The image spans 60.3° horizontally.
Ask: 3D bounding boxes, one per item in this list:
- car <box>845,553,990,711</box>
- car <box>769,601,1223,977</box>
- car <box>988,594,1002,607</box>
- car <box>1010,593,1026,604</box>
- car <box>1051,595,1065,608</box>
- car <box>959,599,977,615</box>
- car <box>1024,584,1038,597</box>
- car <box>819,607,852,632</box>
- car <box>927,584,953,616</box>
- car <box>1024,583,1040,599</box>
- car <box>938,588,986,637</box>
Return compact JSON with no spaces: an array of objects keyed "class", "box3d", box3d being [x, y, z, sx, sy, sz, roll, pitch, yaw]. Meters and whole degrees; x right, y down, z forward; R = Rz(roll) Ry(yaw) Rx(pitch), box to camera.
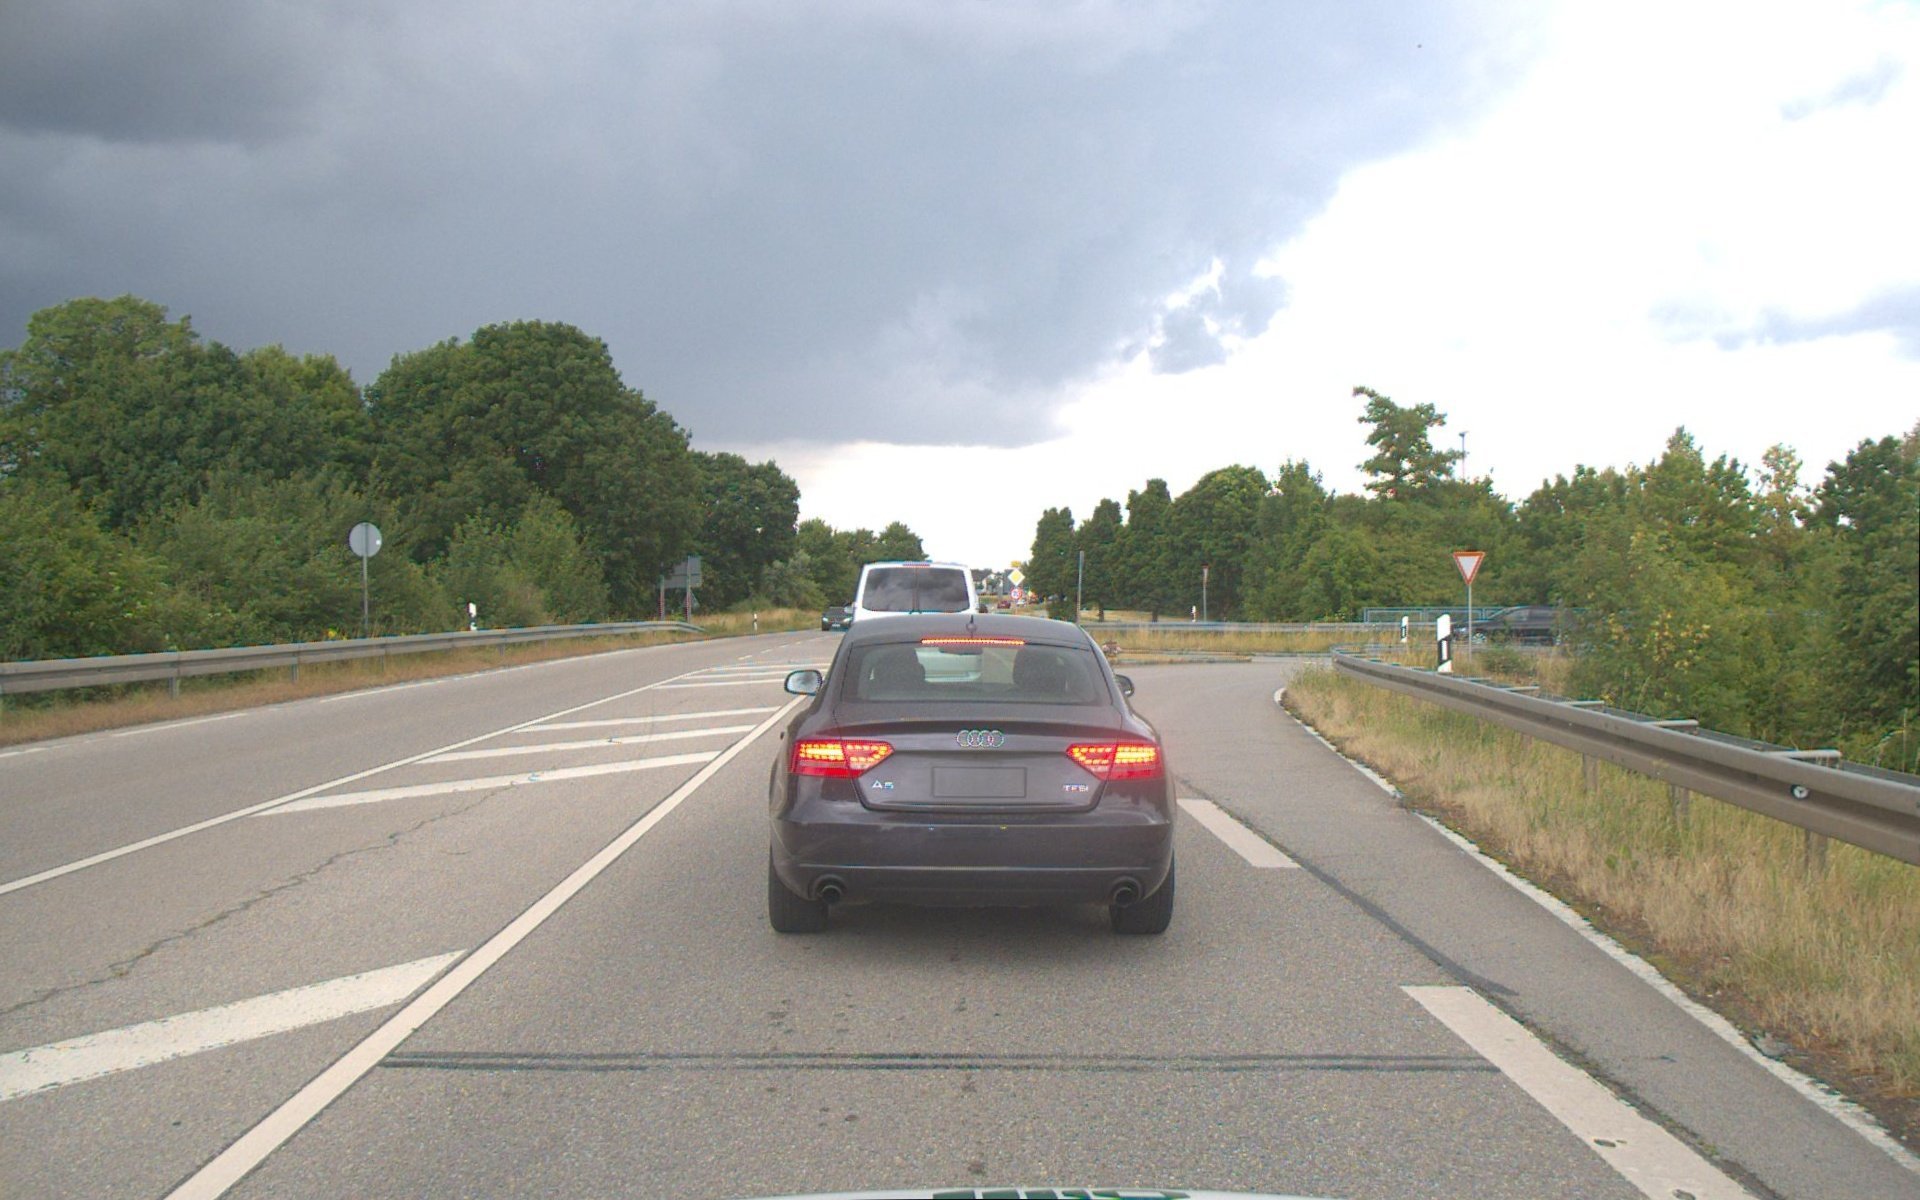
[{"class":"car","box3d":[-0.615,0.397,23.647,1.872,2.049,3.999,1,1,-2]},{"class":"car","box3d":[0.085,0.729,8.028,1.744,1.423,3.335,0,0,-2]},{"class":"car","box3d":[5.029,0.043,239.257,1.952,1.721,4.001,1,1,1]},{"class":"car","box3d":[9.168,-0.231,261.194,2.161,1.610,4.377,1,1,-2]},{"class":"car","box3d":[13.628,0.147,229.955,1.836,1.721,4.002,1,1,4]},{"class":"car","box3d":[0.860,0.744,182.713,1.952,1.721,4.001,1,1,1]},{"class":"car","box3d":[10.182,-1.358,236.781,1.952,1.721,4.001,1,1,1]},{"class":"car","box3d":[-7.634,1.194,101.470,1.761,1.422,3.483,1,1,-1]},{"class":"car","box3d":[-1.574,-0.014,133.093,1.953,2.450,4.000,2,0,0]},{"class":"car","box3d":[9.469,-1.211,217.806,1.952,2.049,4.000,1,1,1]},{"class":"car","box3d":[0.052,0.526,73.937,2.039,2.100,4.875,1,1,-1]}]
